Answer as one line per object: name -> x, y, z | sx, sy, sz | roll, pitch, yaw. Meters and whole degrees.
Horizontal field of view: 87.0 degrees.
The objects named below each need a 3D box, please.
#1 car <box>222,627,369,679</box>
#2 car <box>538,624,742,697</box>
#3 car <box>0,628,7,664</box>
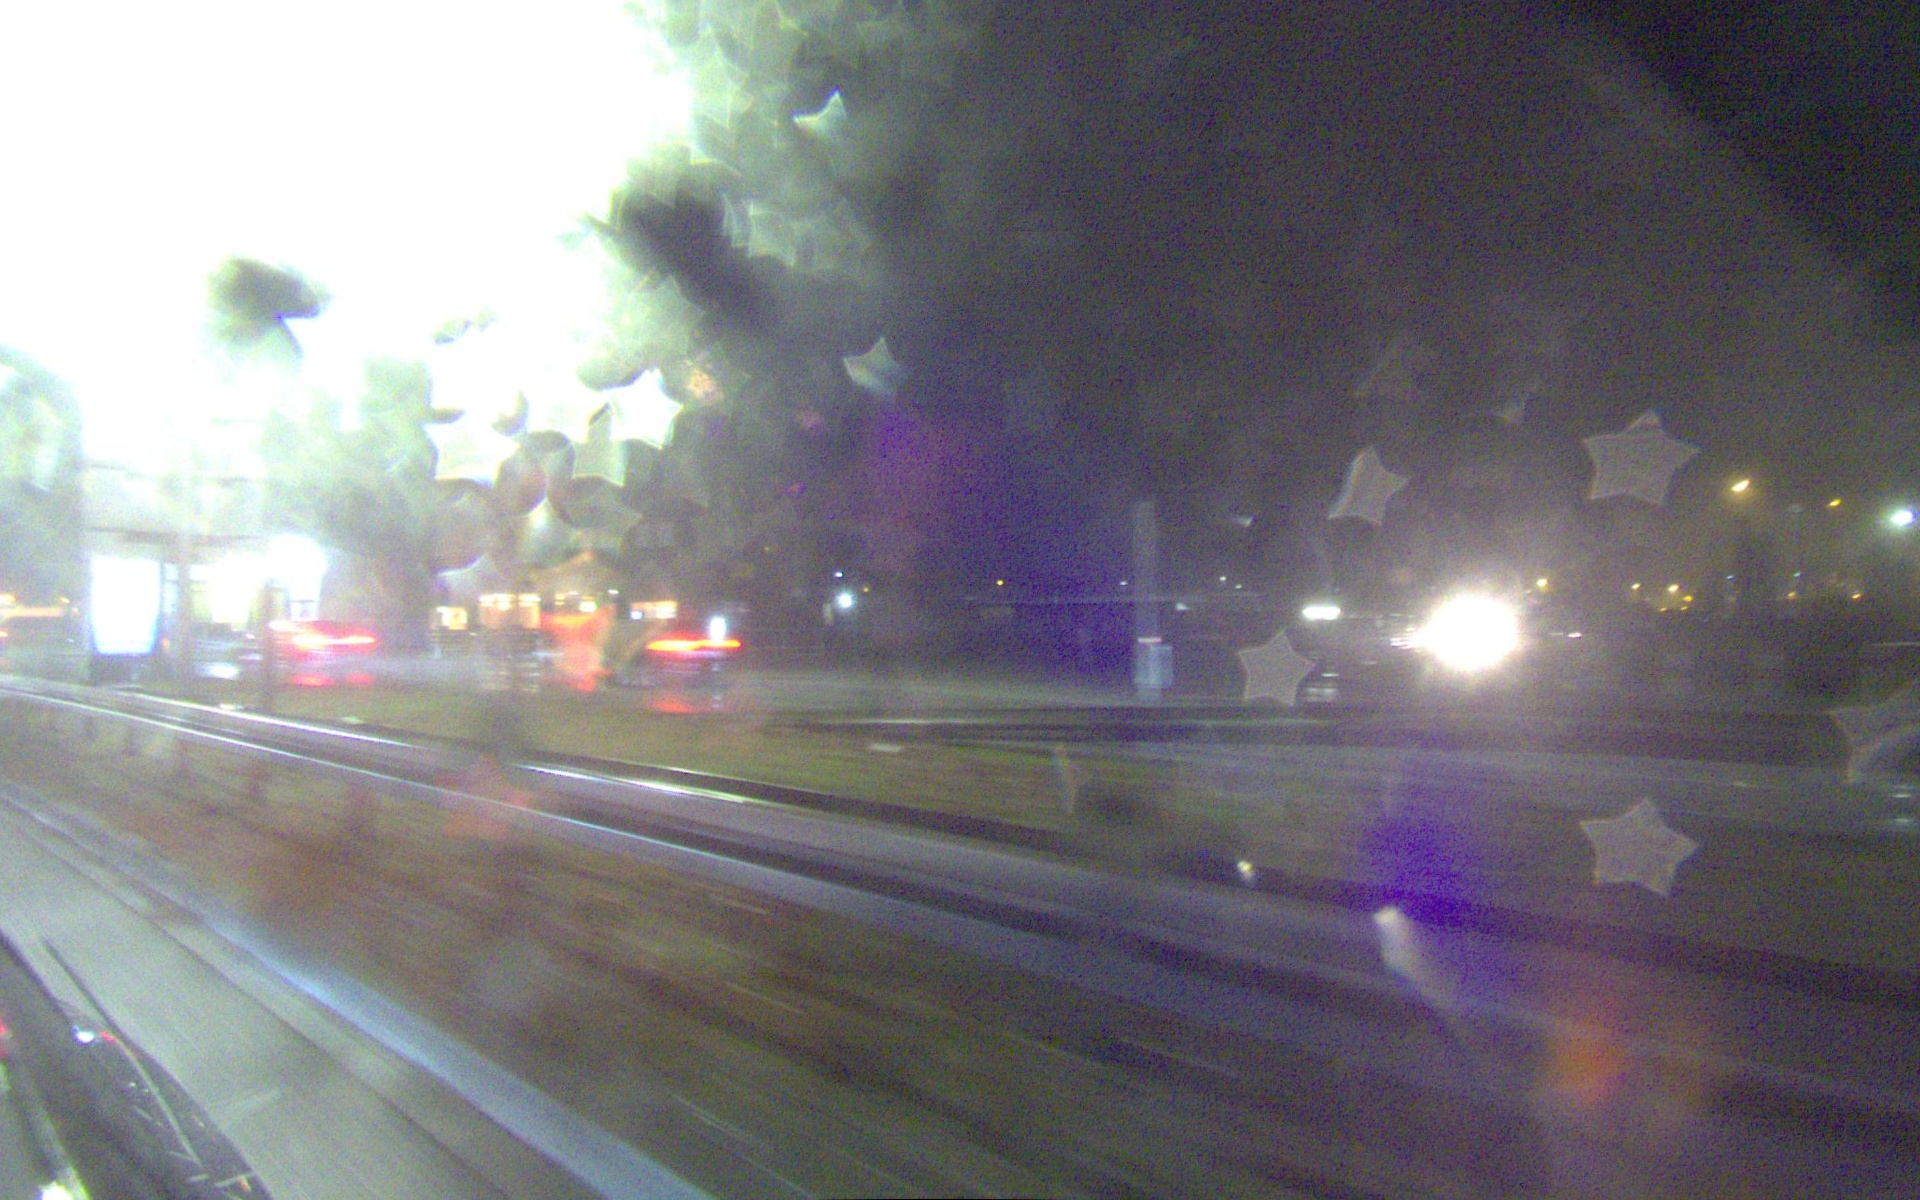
car -> -19.580, 1.521, 29.749 | 4.827, 1.400, 1.880 | -1, -1, 33
car -> -6.966, 1.241, 21.821 | 4.604, 1.400, 1.877 | -2, -1, 37
car -> -39.808, 1.828, 39.762 | 4.814, 1.400, 1.885 | -1, -1, 26
